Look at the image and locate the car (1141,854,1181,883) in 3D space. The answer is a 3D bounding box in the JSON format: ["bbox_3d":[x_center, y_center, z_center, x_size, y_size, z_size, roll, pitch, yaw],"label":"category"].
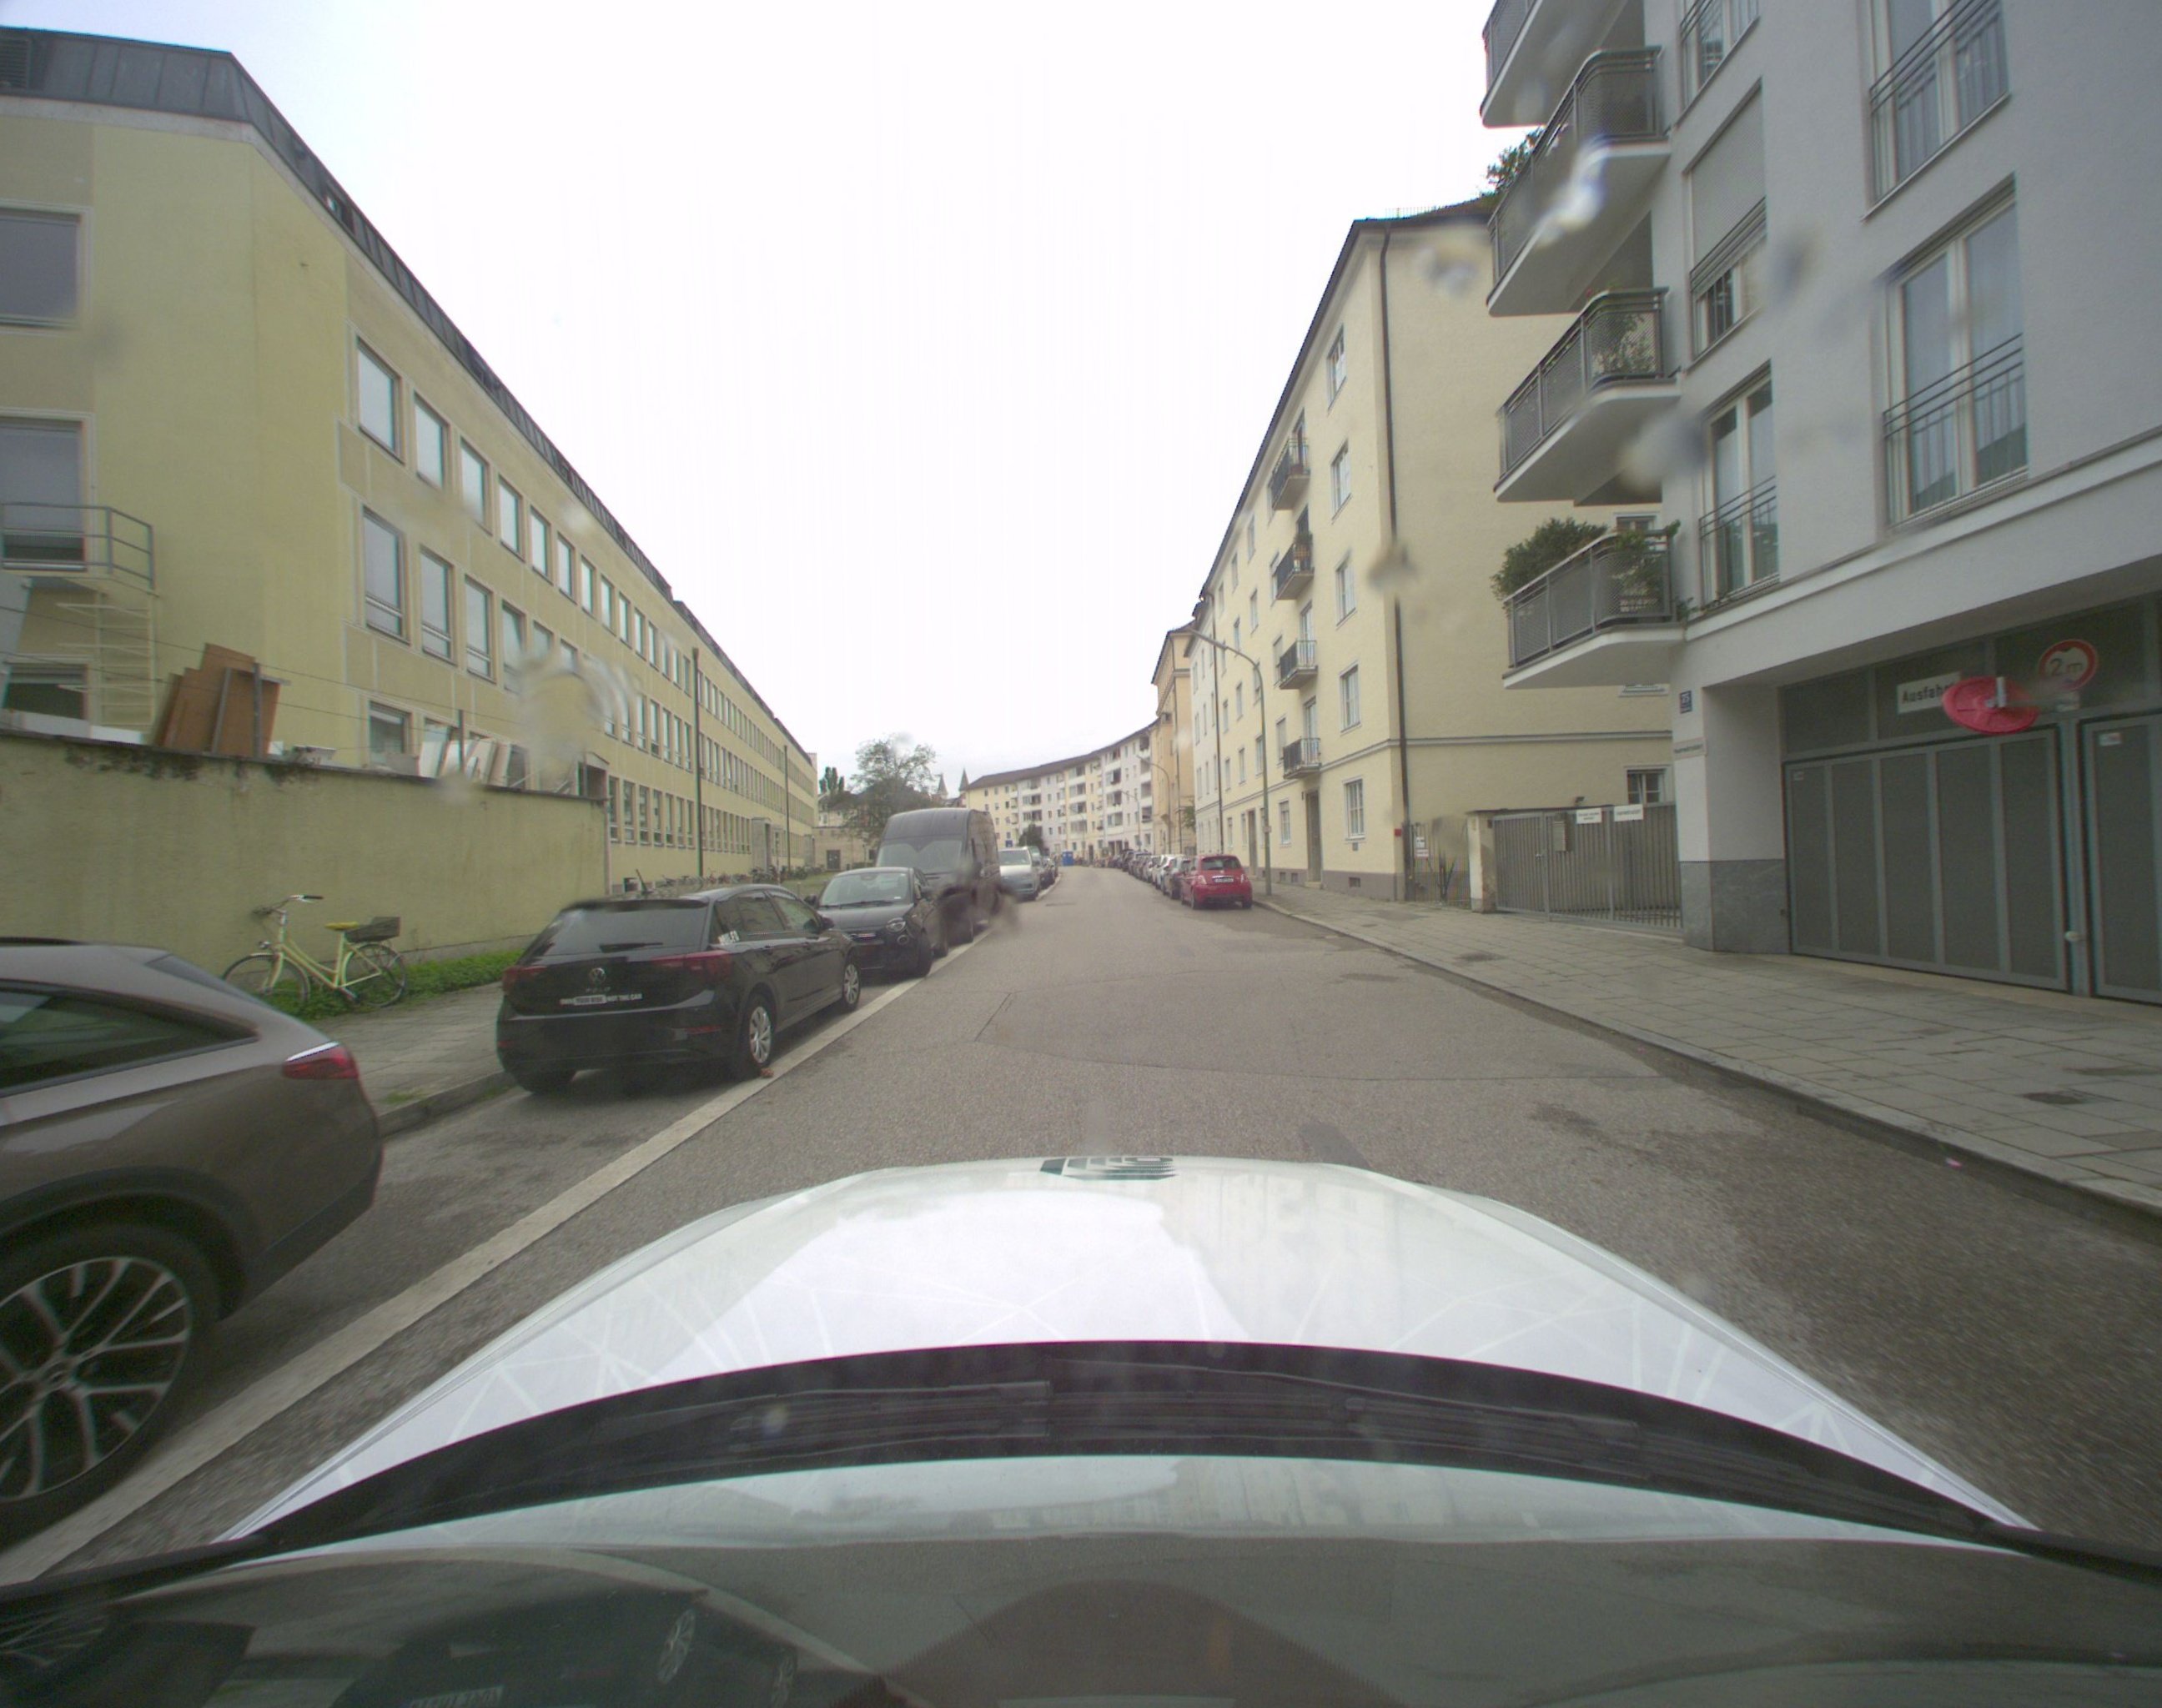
[{"bbox_3d":[4.289,0.743,44.276,1.719,1.450,4.186,-1,0,-1],"label":"car"}]

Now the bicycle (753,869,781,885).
[{"bbox_3d":[-19.728,1.449,51.231,1.608,0.945,0.500,0,0,-18],"label":"bicycle"}]

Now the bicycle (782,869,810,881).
[{"bbox_3d":[-22.320,1.637,63.796,1.953,0.945,0.412,0,0,-12],"label":"bicycle"}]

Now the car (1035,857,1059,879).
[{"bbox_3d":[-2.535,1.043,61.756,1.626,1.494,4.273,-4,0,-1],"label":"car"}]

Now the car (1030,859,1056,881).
[{"bbox_3d":[-2.637,1.071,57.017,1.736,1.422,4.291,-1,0,-2],"label":"car"}]

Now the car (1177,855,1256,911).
[{"bbox_3d":[3.816,0.773,23.473,1.649,1.429,3.755,-1,0,0],"label":"car"}]

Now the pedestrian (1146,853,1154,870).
[{"bbox_3d":[7.148,0.778,84.056,0.615,1.690,0.919,-5,-1,0],"label":"pedestrian"}]

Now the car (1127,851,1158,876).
[{"bbox_3d":[4.453,0.646,59.082,1.841,1.663,4.496,-1,0,-1],"label":"car"}]

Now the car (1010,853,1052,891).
[{"bbox_3d":[-2.426,0.858,40.391,1.709,1.689,4.141,-3,0,1],"label":"car"}]

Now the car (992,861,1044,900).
[{"bbox_3d":[-2.665,1.100,35.046,1.798,1.406,3.709,-4,0,1],"label":"car"}]

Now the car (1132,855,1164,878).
[{"bbox_3d":[4.411,0.800,54.219,1.821,1.450,4.084,-1,0,1],"label":"car"}]

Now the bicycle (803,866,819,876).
[{"bbox_3d":[-26.628,1.685,80.243,1.474,0.945,0.412,0,0,-17],"label":"bicycle"}]

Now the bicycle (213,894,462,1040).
[{"bbox_3d":[-7.532,1.086,8.402,0.799,1.233,1.868,-2,-1,1],"label":"bicycle"}]

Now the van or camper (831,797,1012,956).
[{"bbox_3d":[-3.054,0.393,17.108,2.284,2.651,5.565,-4,0,3],"label":"van or camper"}]

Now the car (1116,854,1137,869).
[{"bbox_3d":[4.412,0.745,79.557,1.627,1.417,3.676,-1,0,-2],"label":"car"}]

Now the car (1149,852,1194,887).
[{"bbox_3d":[4.297,0.716,39.120,1.646,1.543,3.991,-1,0,-1],"label":"car"}]

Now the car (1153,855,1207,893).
[{"bbox_3d":[4.047,0.796,34.023,1.719,1.429,4.293,-1,0,0],"label":"car"}]

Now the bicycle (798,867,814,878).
[{"bbox_3d":[-25.260,1.688,74.793,1.410,0.945,0.412,0,-1,-17],"label":"bicycle"}]

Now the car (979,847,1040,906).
[{"bbox_3d":[-2.545,0.751,30.059,1.910,1.960,4.957,-2,0,-2],"label":"car"}]

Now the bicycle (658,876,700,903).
[{"bbox_3d":[-15.089,1.330,30.554,1.415,0.945,0.410,0,-1,-28],"label":"bicycle"}]

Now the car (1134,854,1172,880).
[{"bbox_3d":[4.300,0.722,49.062,1.869,1.450,4.677,-1,0,0],"label":"car"}]

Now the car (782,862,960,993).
[{"bbox_3d":[-2.889,0.927,12.068,1.648,1.497,3.906,-4,0,-2],"label":"car"}]

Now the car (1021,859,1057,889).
[{"bbox_3d":[-2.288,1.079,45.427,1.625,1.494,3.820,-4,0,1],"label":"car"}]

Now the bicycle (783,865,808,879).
[{"bbox_3d":[-23.521,1.485,67.111,1.849,1.096,0.698,0,0,-17],"label":"bicycle"}]

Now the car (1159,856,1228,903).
[{"bbox_3d":[3.836,0.820,28.451,1.767,1.429,4.615,-1,0,0],"label":"car"}]

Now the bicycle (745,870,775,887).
[{"bbox_3d":[-19.303,1.474,49.009,1.608,0.945,0.500,0,0,-18],"label":"bicycle"}]

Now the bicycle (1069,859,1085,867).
[{"bbox_3d":[-0.614,1.382,126.217,2.243,1.069,0.912,-1,-1,-24],"label":"bicycle"}]

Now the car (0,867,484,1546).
[{"bbox_3d":[-3.536,0.889,0.780,1.855,1.541,5.096,-4,0,4],"label":"car"}]

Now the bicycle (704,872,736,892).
[{"bbox_3d":[-17.705,1.373,39.953,1.403,0.945,0.414,-1,0,-3],"label":"bicycle"}]

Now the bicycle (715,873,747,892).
[{"bbox_3d":[-17.770,1.448,41.385,1.408,0.945,0.412,0,0,-12],"label":"bicycle"}]

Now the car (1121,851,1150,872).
[{"bbox_3d":[4.605,0.604,69.347,2.162,1.739,5.024,-1,0,1],"label":"car"}]

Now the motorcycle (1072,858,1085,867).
[{"bbox_3d":[-0.330,1.229,118.197,0.936,1.221,2.487,-1,-1,-23],"label":"motorcycle"}]

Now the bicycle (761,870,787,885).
[{"bbox_3d":[-20.180,1.554,53.560,1.611,0.945,0.499,0,0,-24],"label":"bicycle"}]

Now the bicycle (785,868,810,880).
[{"bbox_3d":[-22.453,1.593,64.444,1.863,0.945,0.412,0,0,-18],"label":"bicycle"}]

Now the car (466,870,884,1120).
[{"bbox_3d":[-3.167,0.960,7.470,1.670,1.436,4.284,-4,0,-1],"label":"car"}]

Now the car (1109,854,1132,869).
[{"bbox_3d":[4.094,0.747,85.825,1.904,1.477,4.940,-1,0,-3],"label":"car"}]
